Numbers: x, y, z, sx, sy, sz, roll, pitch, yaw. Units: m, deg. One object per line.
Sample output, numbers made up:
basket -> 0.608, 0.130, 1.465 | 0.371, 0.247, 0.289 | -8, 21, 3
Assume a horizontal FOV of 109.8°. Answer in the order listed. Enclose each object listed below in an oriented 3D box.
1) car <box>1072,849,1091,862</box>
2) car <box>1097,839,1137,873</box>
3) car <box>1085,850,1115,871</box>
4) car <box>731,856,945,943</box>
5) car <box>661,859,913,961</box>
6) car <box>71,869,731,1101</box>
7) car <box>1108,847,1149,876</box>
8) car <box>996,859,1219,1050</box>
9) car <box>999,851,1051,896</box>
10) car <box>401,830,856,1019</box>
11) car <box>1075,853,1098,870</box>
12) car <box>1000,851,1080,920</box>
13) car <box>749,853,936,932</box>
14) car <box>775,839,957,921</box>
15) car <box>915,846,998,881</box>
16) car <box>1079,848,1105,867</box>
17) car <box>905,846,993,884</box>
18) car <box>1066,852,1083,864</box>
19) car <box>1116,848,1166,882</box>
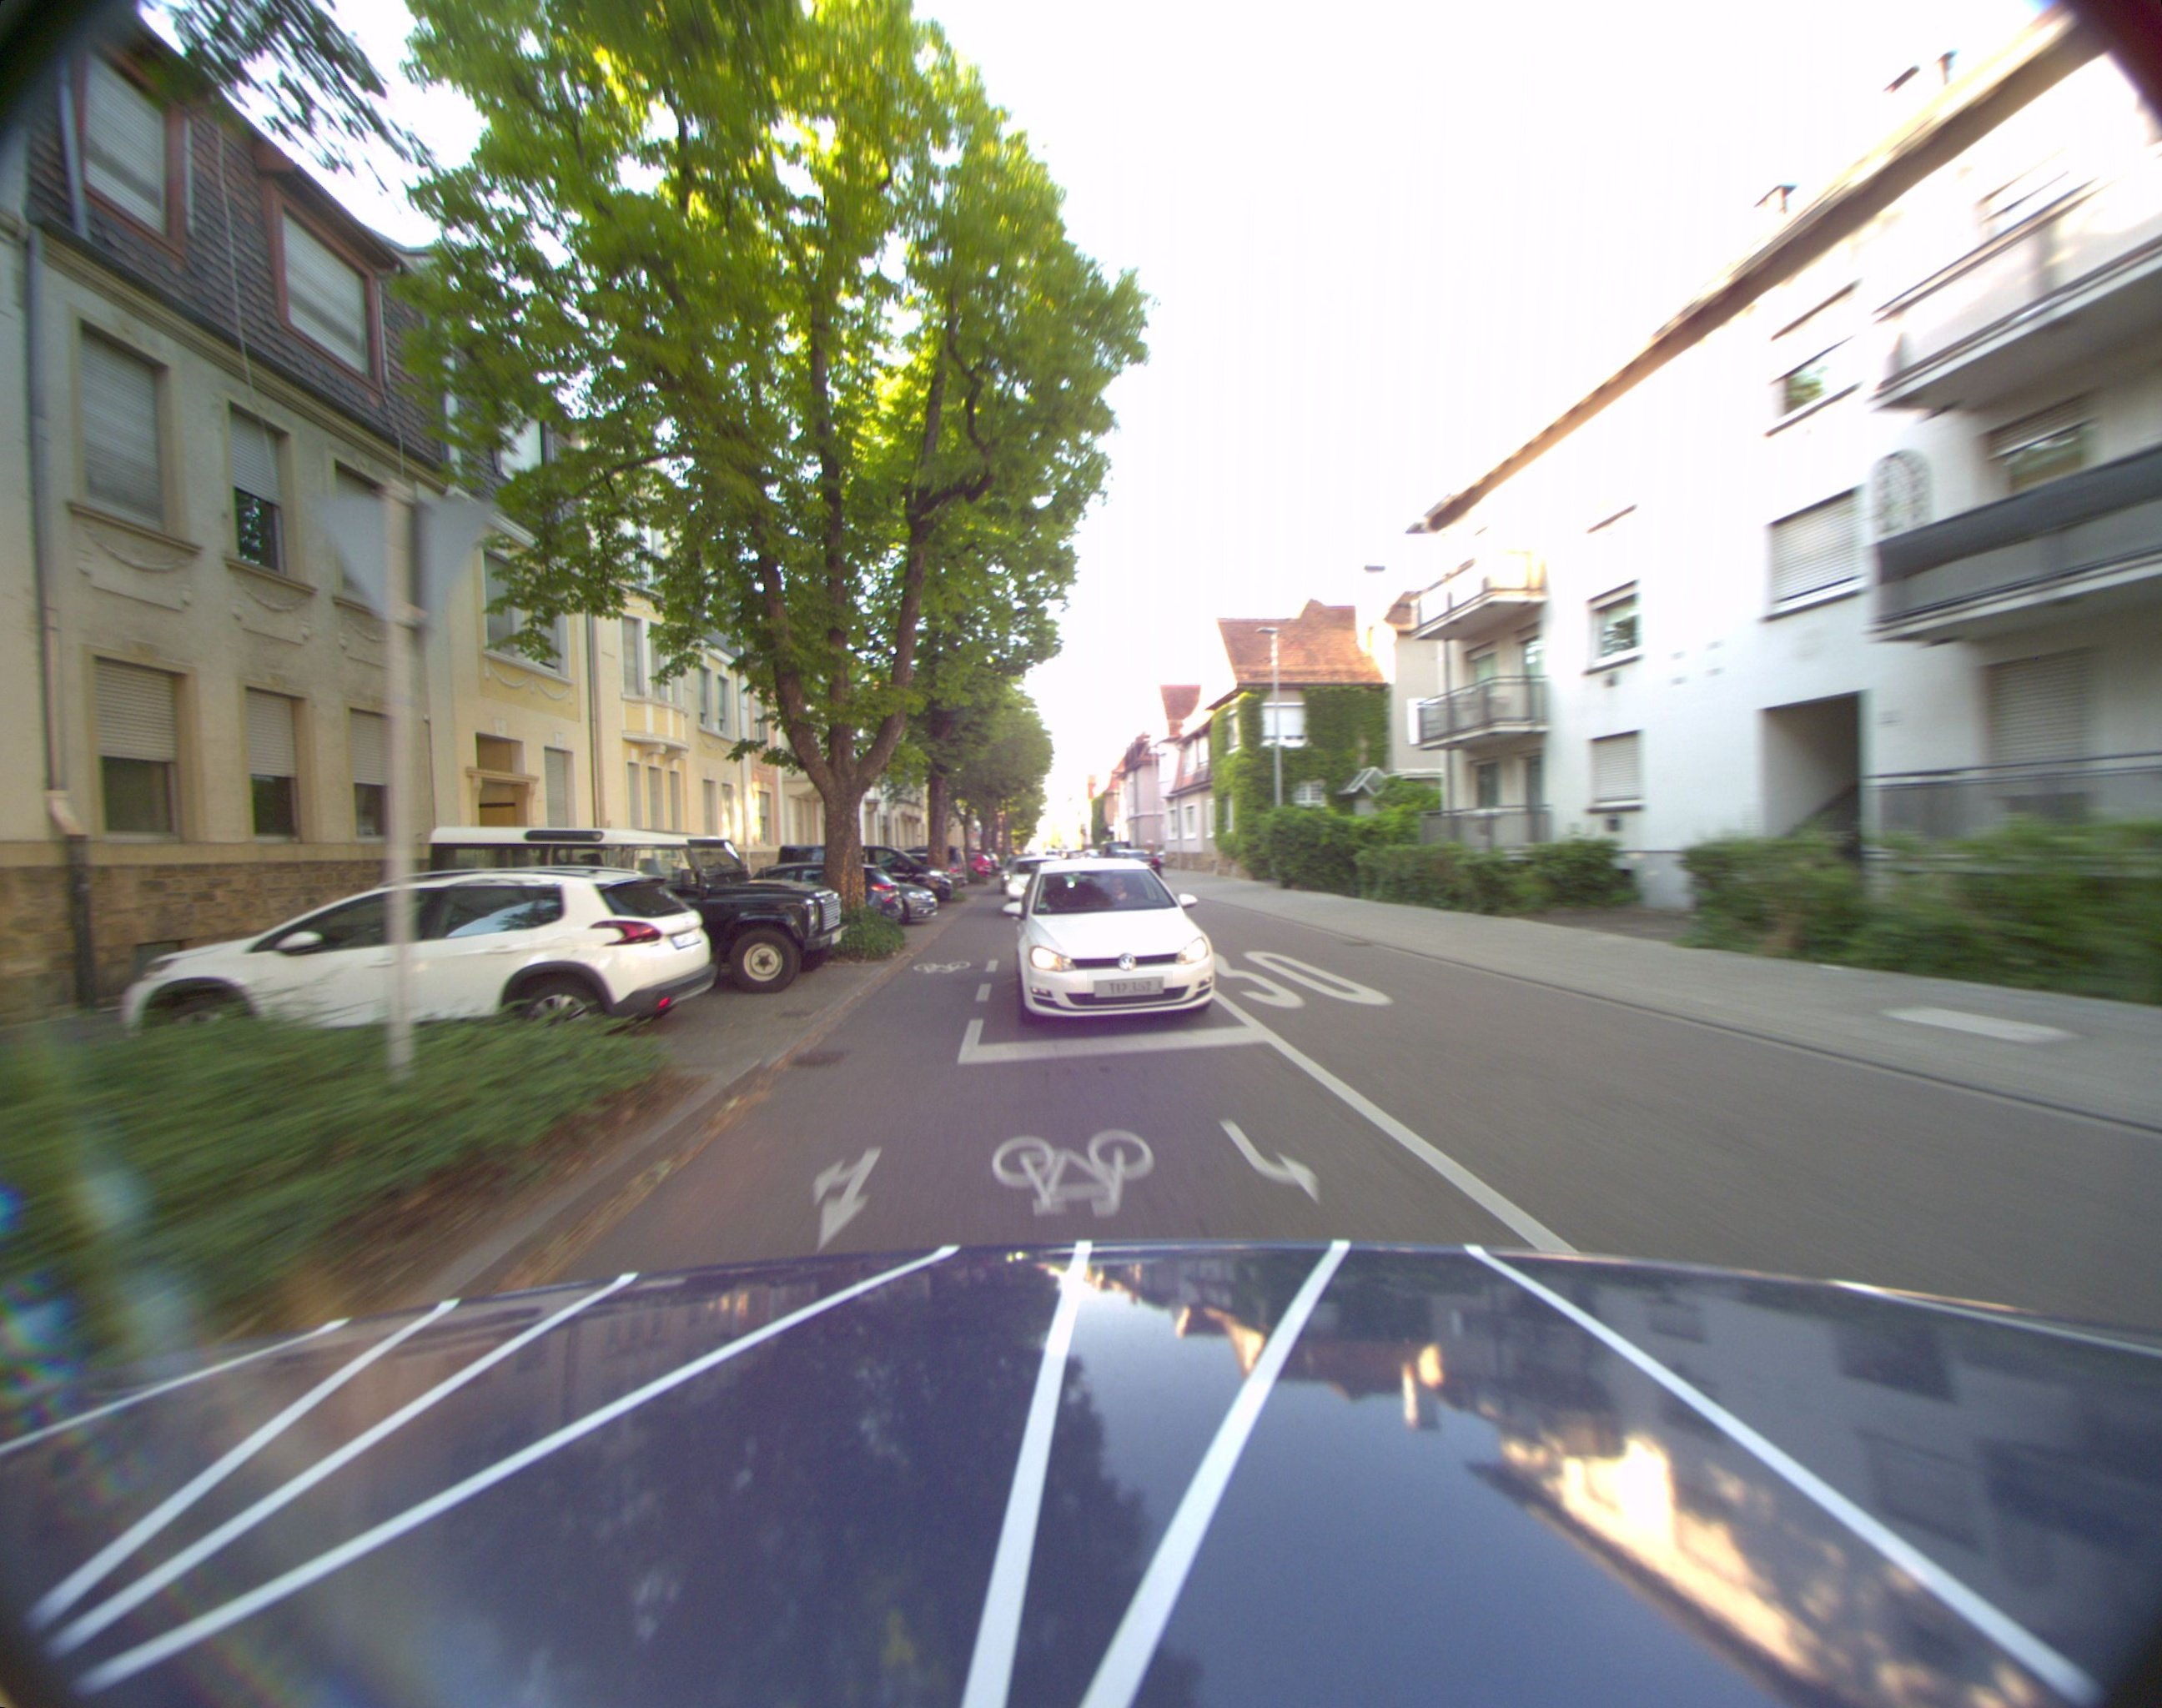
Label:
car -> 0.009, 0.192, 89.969 | 1.821, 1.419, 4.286 | -3, 1, -4
car -> 2.180, 0.095, 47.178 | 1.821, 1.895, 4.286 | -3, 1, -4
car -> 1.450, 0.474, 58.769 | 1.821, 1.419, 4.286 | -3, 1, -4
car -> -5.365, 0.966, 17.312 | 4.210, 1.598, 1.999 | -3, 1, -6
car -> -5.634, 1.034, 15.084 | 4.210, 1.619, 1.972 | -3, 1, -6
car -> -5.510, 0.993, 6.662 | 4.047, 1.566, 1.683 | -2, 0, -6
car -> 2.614, 0.386, 42.674 | 1.693, 1.445, 3.998 | -3, 1, -4
car -> 0.089, 0.862, 8.527 | 1.844, 1.442, 4.108 | -3, 1, -4
car -> -2.217, 0.699, 30.254 | 1.844, 1.509, 4.751 | -3, 1, -4
car -> -5.298, 0.759, 9.448 | 4.433, 1.974, 1.757 | -1, 4, -4
car -> 0.485, 0.718, 71.989 | 1.821, 1.419, 4.286 | -3, 1, -4
car -> -1.129, 0.752, 20.364 | 1.844, 1.509, 4.020 | -3, 1, -4
car -> -6.020, 0.944, 19.679 | 4.210, 1.678, 1.999 | -3, 1, -6
car -> -6.088, 0.706, 22.055 | 4.711, 2.002, 1.999 | -3, 1, -6
car -> -7.481, 0.557, 46.119 | 4.711, 1.863, 1.999 | -3, 1, -6
car -> 0.910, 0.258, 64.649 | 1.821, 1.419, 4.286 | -3, 1, -4
car -> -7.492, 0.605, 43.461 | 4.711, 1.863, 1.999 | -3, 1, -6
car -> -0.886, 0.479, 97.639 | 1.821, 1.419, 4.286 | -3, 1, -4
car -> 2.788, 0.479, 36.249 | 1.693, 1.445, 3.998 | -3, 1, -4
